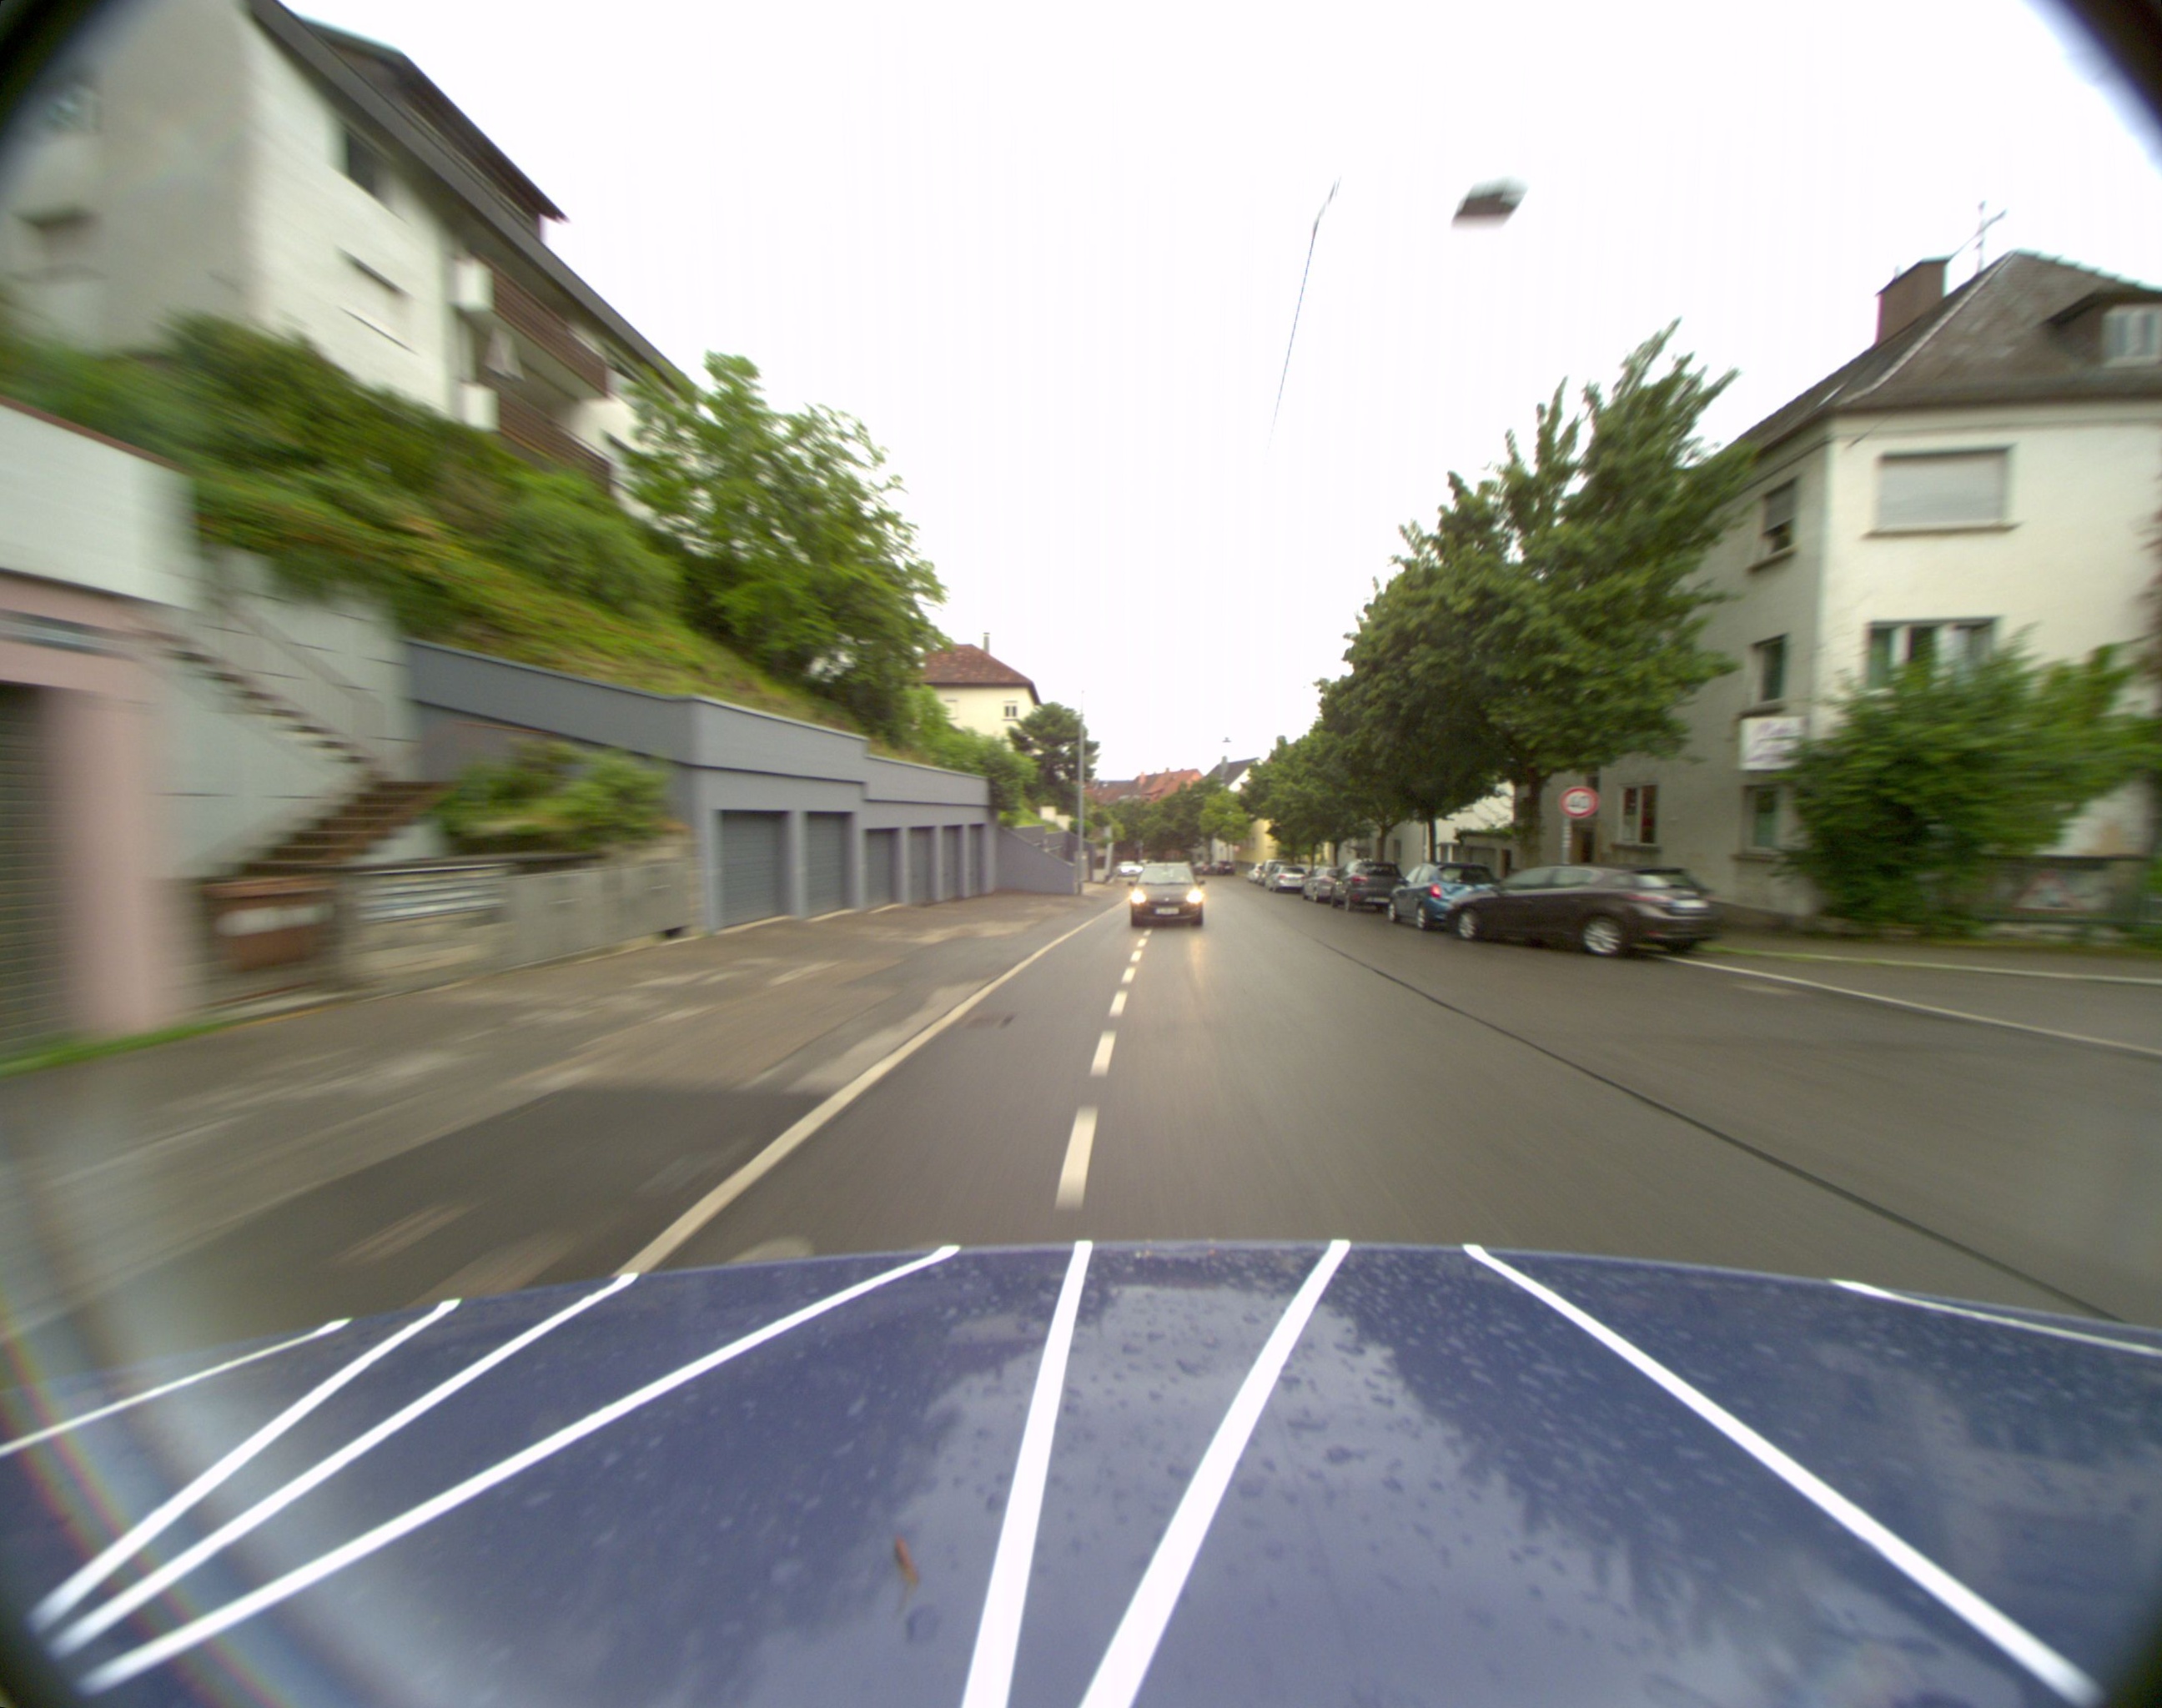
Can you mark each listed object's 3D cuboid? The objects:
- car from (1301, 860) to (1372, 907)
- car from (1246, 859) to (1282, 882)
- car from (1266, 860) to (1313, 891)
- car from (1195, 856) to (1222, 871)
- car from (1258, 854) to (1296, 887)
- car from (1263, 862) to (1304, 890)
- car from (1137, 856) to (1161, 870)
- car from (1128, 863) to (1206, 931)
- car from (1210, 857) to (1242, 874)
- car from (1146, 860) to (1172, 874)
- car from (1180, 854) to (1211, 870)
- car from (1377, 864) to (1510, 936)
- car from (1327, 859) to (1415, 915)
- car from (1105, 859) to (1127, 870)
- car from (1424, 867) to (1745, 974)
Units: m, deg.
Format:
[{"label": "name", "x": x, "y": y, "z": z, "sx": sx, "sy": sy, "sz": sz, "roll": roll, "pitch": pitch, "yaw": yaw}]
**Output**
[{"label": "car", "x": 10.251, "y": 1.112, "z": 30.786, "sx": 1.808, "sy": 1.543, "sz": 4.802, "roll": 2, "pitch": 2, "yaw": 8}, {"label": "car", "x": 14.038, "y": 1.257, "z": 58.443, "sx": 1.788, "sy": 1.506, "sz": 4.345, "roll": 2, "pitch": 2, "yaw": 2}, {"label": "car", "x": 11.313, "y": 1.125, "z": 41.413, "sx": 1.808, "sy": 1.445, "sz": 4.598, "roll": -2, "pitch": 1, "yaw": 7}, {"label": "car", "x": 13.209, "y": 0.984, "z": 78.762, "sx": 1.619, "sy": 1.388, "sz": 4.320, "roll": -1, "pitch": 0, "yaw": -7}, {"label": "car", "x": 13.449, "y": 1.100, "z": 52.303, "sx": 1.917, "sy": 1.990, "sz": 4.550, "roll": -2, "pitch": 1, "yaw": 7}, {"label": "car", "x": 12.588, "y": 1.360, "z": 47.490, "sx": 1.808, "sy": 1.477, "sz": 4.237, "roll": 2, "pitch": 1, "yaw": 6}, {"label": "car", "x": 8.955, "y": 1.160, "z": 100.409, "sx": 1.861, "sy": 1.766, "sz": 4.477, "roll": -2, "pitch": 0, "yaw": -14}, {"label": "car", "x": 2.165, "y": 0.986, "z": 18.781, "sx": 1.697, "sy": 1.456, "sz": 4.002, "roll": -1, "pitch": 0, "yaw": 8}, {"label": "car", "x": 14.155, "y": 1.064, "z": 74.318, "sx": 1.780, "sy": 1.531, "sz": 4.514, "roll": -2, "pitch": 0, "yaw": -7}, {"label": "car", "x": 9.733, "y": 1.651, "z": 94.967, "sx": 1.860, "sy": 1.658, "sz": 4.583, "roll": -2, "pitch": 0, "yaw": -12}, {"label": "car", "x": 12.529, "y": 0.864, "z": 83.302, "sx": 1.860, "sy": 1.680, "sz": 4.550, "roll": 0, "pitch": -1, "yaw": -12}, {"label": "car", "x": 8.248, "y": 0.995, "z": 17.662, "sx": 1.716, "sy": 1.454, "sz": 3.884, "roll": -2, "pitch": -1, "yaw": 9}, {"label": "car", "x": 9.411, "y": 1.015, "z": 25.004, "sx": 1.808, "sy": 1.617, "sz": 4.141, "roll": -1, "pitch": 0, "yaw": 8}, {"label": "car", "x": 5.265, "y": 1.589, "z": 114.483, "sx": 1.794, "sy": 1.631, "sz": 4.473, "roll": -2, "pitch": 0, "yaw": -18}, {"label": "car", "x": 8.191, "y": 0.964, "z": 12.891, "sx": 2.002, "sy": 1.383, "sz": 4.190, "roll": -1, "pitch": 0, "yaw": -19}]
